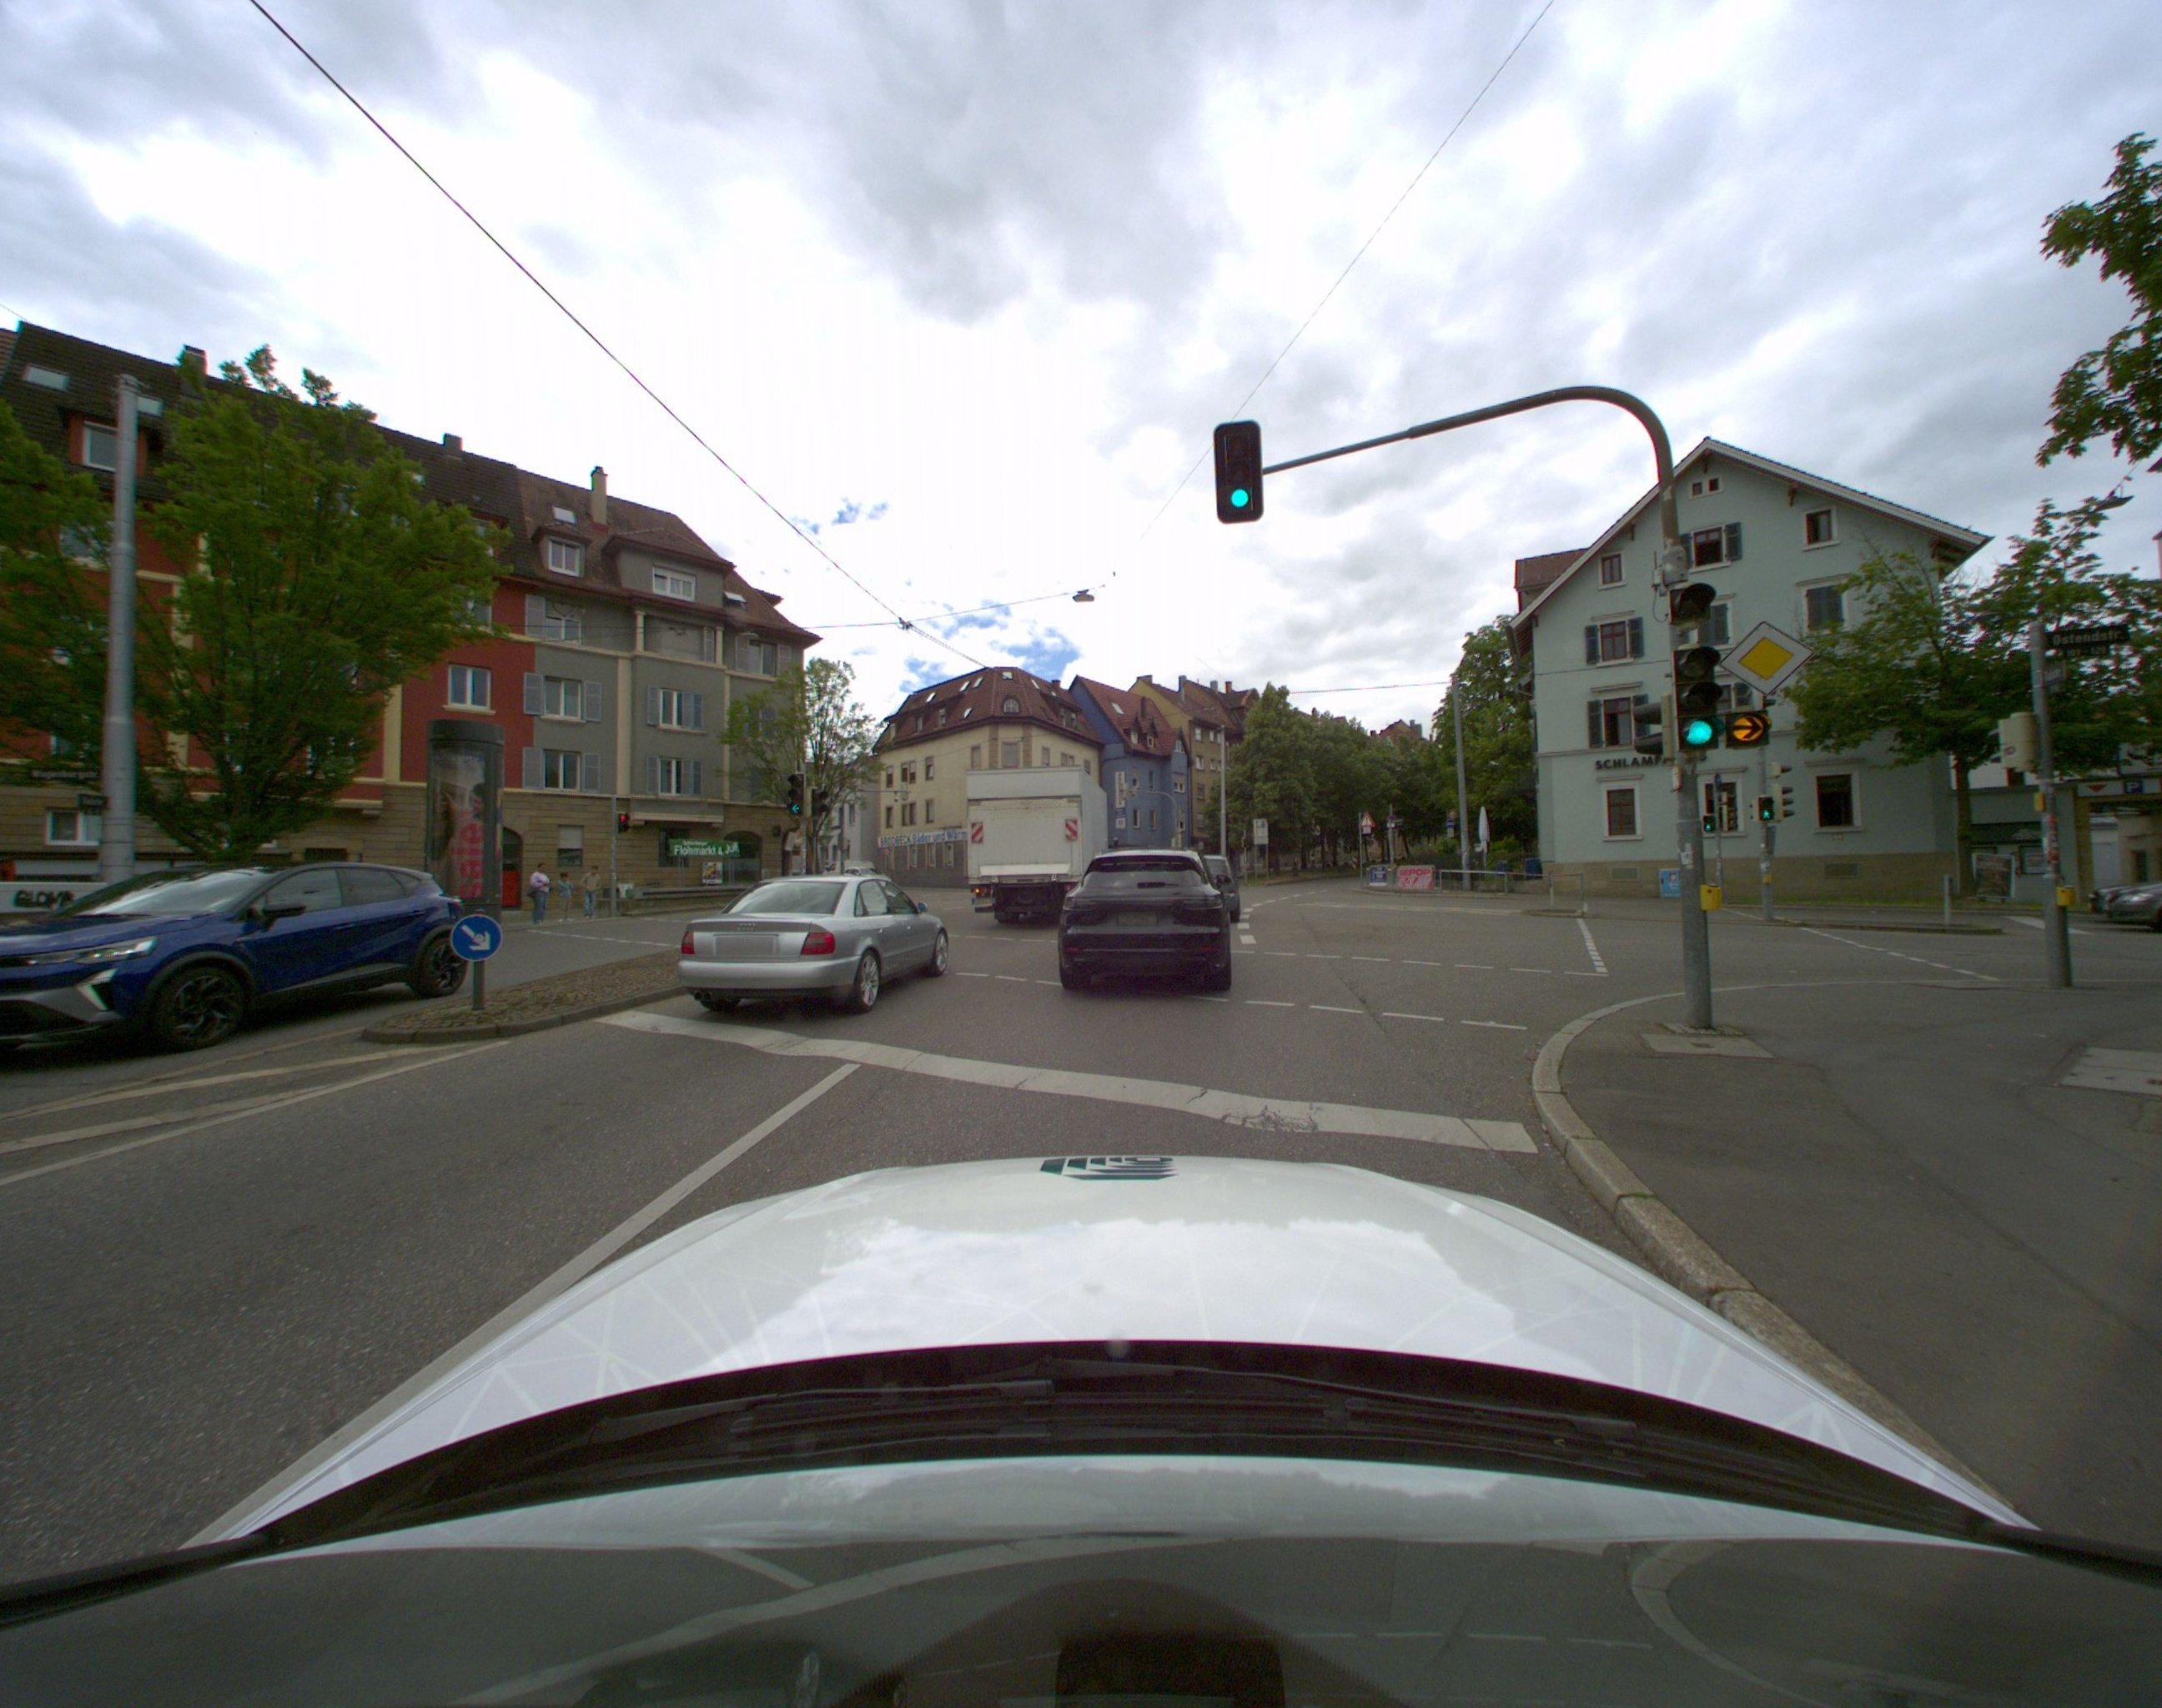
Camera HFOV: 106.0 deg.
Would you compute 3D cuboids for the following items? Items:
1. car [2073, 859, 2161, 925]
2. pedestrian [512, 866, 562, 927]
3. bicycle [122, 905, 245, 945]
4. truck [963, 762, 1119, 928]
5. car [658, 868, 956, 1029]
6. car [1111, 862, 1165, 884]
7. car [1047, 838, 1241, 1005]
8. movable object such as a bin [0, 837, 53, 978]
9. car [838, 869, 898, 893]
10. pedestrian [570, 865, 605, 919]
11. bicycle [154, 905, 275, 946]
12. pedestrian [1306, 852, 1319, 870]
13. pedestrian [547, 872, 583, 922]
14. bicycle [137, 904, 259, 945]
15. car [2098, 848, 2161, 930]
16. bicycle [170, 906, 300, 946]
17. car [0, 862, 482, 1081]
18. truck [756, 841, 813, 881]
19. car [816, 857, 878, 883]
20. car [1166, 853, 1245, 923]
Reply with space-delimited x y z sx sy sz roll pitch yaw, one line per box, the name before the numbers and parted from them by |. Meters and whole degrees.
car | 25.111 0.826 17.795 4.146 1.424 1.720 -1 -1 43
pedestrian | -14.217 1.096 21.288 0.786 1.546 0.741 -1 -1 17
bicycle | -28.344 2.208 25.808 0.629 1.070 2.670 -1 -1 11
truck | -0.687 -0.173 21.688 2.711 3.544 8.437 0 -1 7
car | -2.790 0.873 9.370 1.620 1.365 4.135 0 0 6
car | 4.056 1.325 57.757 1.700 1.476 4.245 -4 -2 37
car | 0.917 0.687 10.833 2.021 1.723 4.508 1 0 7
movable object such as a bin | -15.839 0.764 10.529 1.378 2.014 3.516 -1 0 -17
car | -13.436 1.685 51.273 3.925 1.470 1.892 -2 -2 44
pedestrian | -13.799 1.044 22.788 0.518 1.487 0.656 -1 -1 17
bicycle | -27.080 2.206 25.541 0.629 1.070 2.669 -1 -1 10
pedestrian | 26.183 0.805 92.141 1.180 2.014 0.995 -1 -1 35
pedestrian | -14.027 1.155 22.135 0.570 1.338 0.587 -1 -1 17
bicycle | -27.715 2.193 25.656 0.629 1.070 2.670 -1 -1 11
car | 23.342 0.714 15.883 4.146 1.639 1.720 -1 -3 43
bicycle | -26.348 2.226 25.464 0.811 1.021 2.842 -1 -1 10
car | -8.041 0.852 7.747 1.782 1.531 4.033 -1 0 -2
truck | -26.062 0.661 71.443 2.715 3.354 5.371 2 -2 -44
car | -17.049 1.180 59.245 4.280 1.799 2.078 -1 -1 34
car | 3.175 0.793 20.244 1.637 1.556 3.595 0 -1 13
